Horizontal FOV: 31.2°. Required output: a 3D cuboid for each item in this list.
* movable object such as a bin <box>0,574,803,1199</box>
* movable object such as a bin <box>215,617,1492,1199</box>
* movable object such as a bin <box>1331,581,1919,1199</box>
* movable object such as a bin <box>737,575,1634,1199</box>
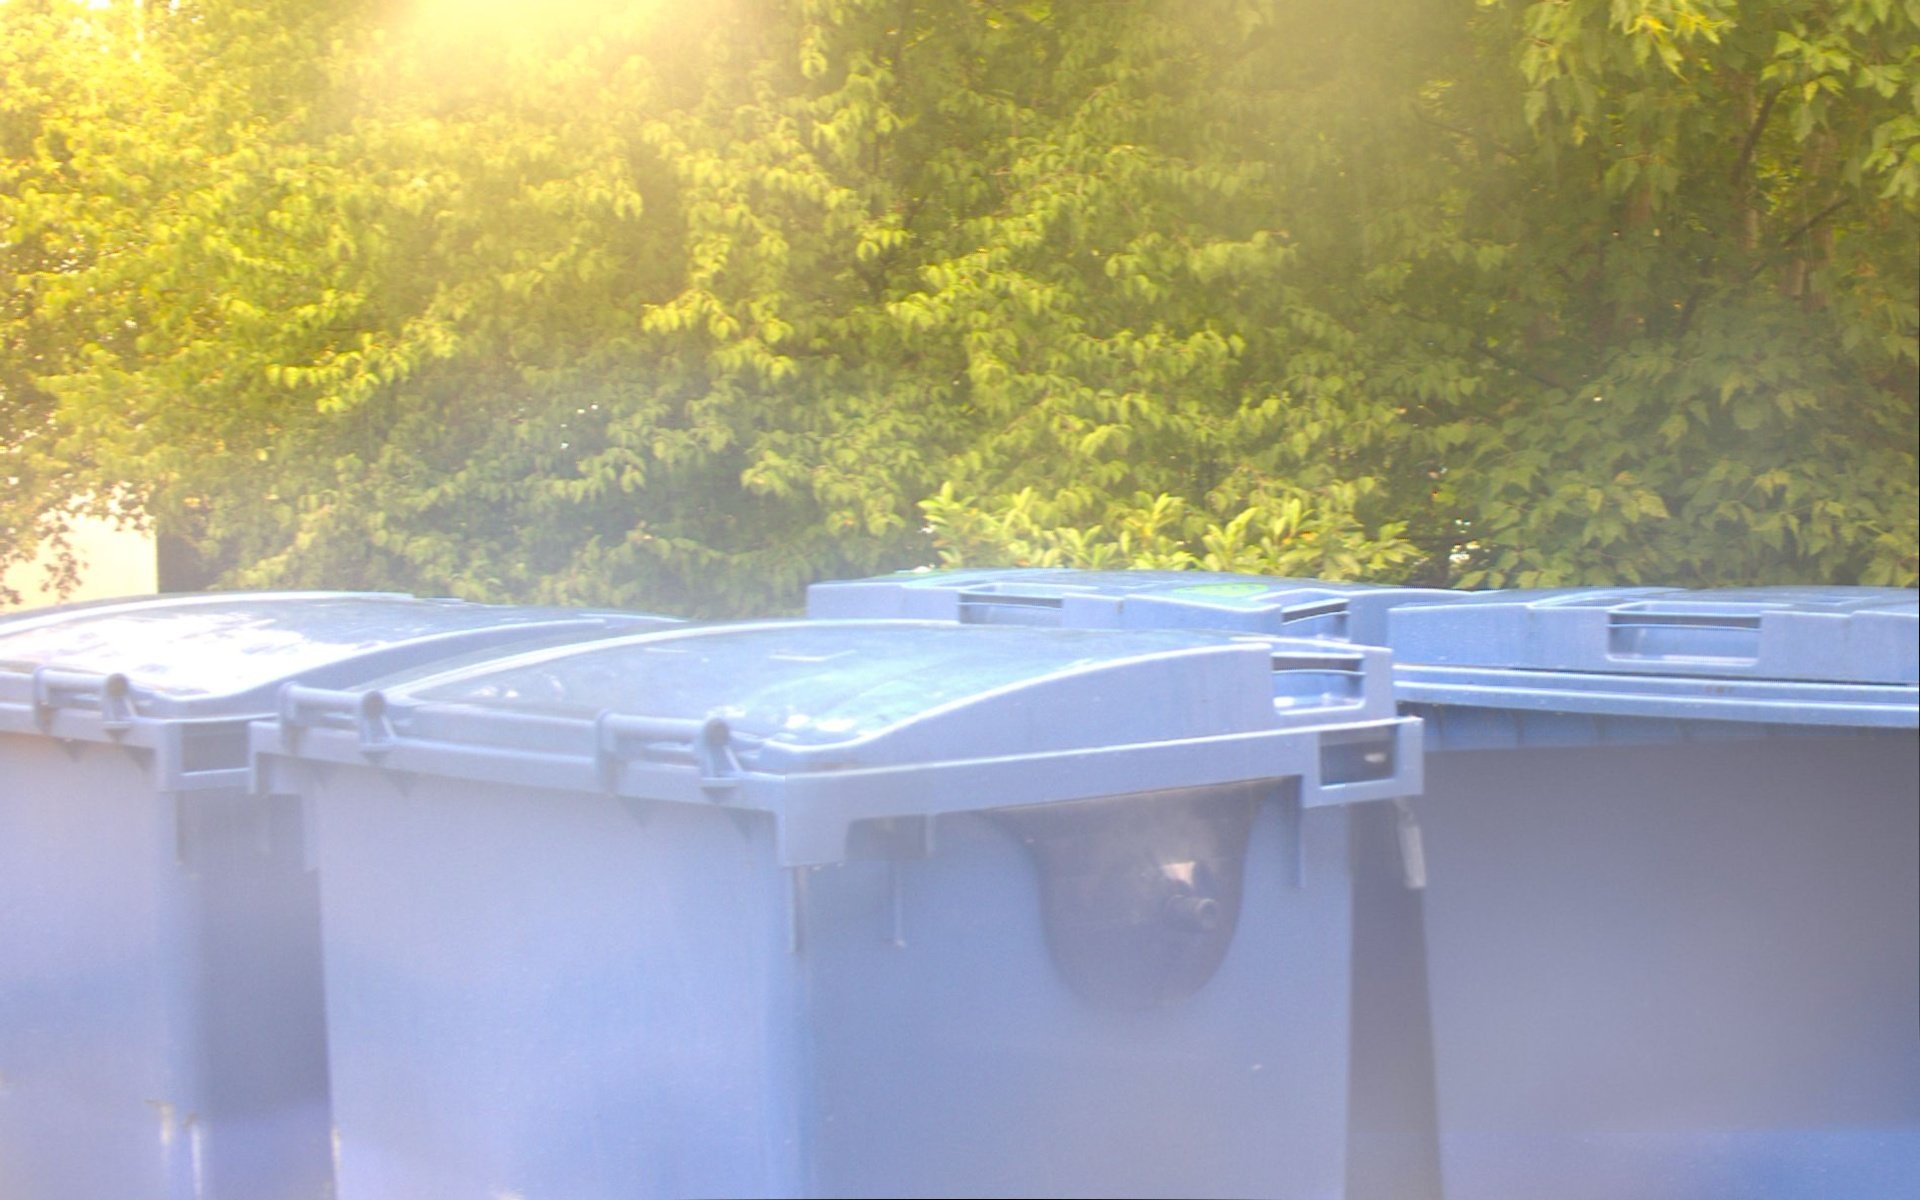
[{"bbox_3d":[-1.060,0.679,5.324,1.114,1.332,1.206,-5,5,-42],"label":"movable object such as a bin"},{"bbox_3d":[-0.155,0.715,4.355,1.113,1.332,1.206,-2,2,-38],"label":"movable object such as a bin"},{"bbox_3d":[1.371,0.660,5.247,1.004,1.332,1.225,-3,3,-42],"label":"movable object such as a bin"},{"bbox_3d":[0.394,0.649,6.156,1.004,1.332,1.225,-4,3,-42],"label":"movable object such as a bin"}]
